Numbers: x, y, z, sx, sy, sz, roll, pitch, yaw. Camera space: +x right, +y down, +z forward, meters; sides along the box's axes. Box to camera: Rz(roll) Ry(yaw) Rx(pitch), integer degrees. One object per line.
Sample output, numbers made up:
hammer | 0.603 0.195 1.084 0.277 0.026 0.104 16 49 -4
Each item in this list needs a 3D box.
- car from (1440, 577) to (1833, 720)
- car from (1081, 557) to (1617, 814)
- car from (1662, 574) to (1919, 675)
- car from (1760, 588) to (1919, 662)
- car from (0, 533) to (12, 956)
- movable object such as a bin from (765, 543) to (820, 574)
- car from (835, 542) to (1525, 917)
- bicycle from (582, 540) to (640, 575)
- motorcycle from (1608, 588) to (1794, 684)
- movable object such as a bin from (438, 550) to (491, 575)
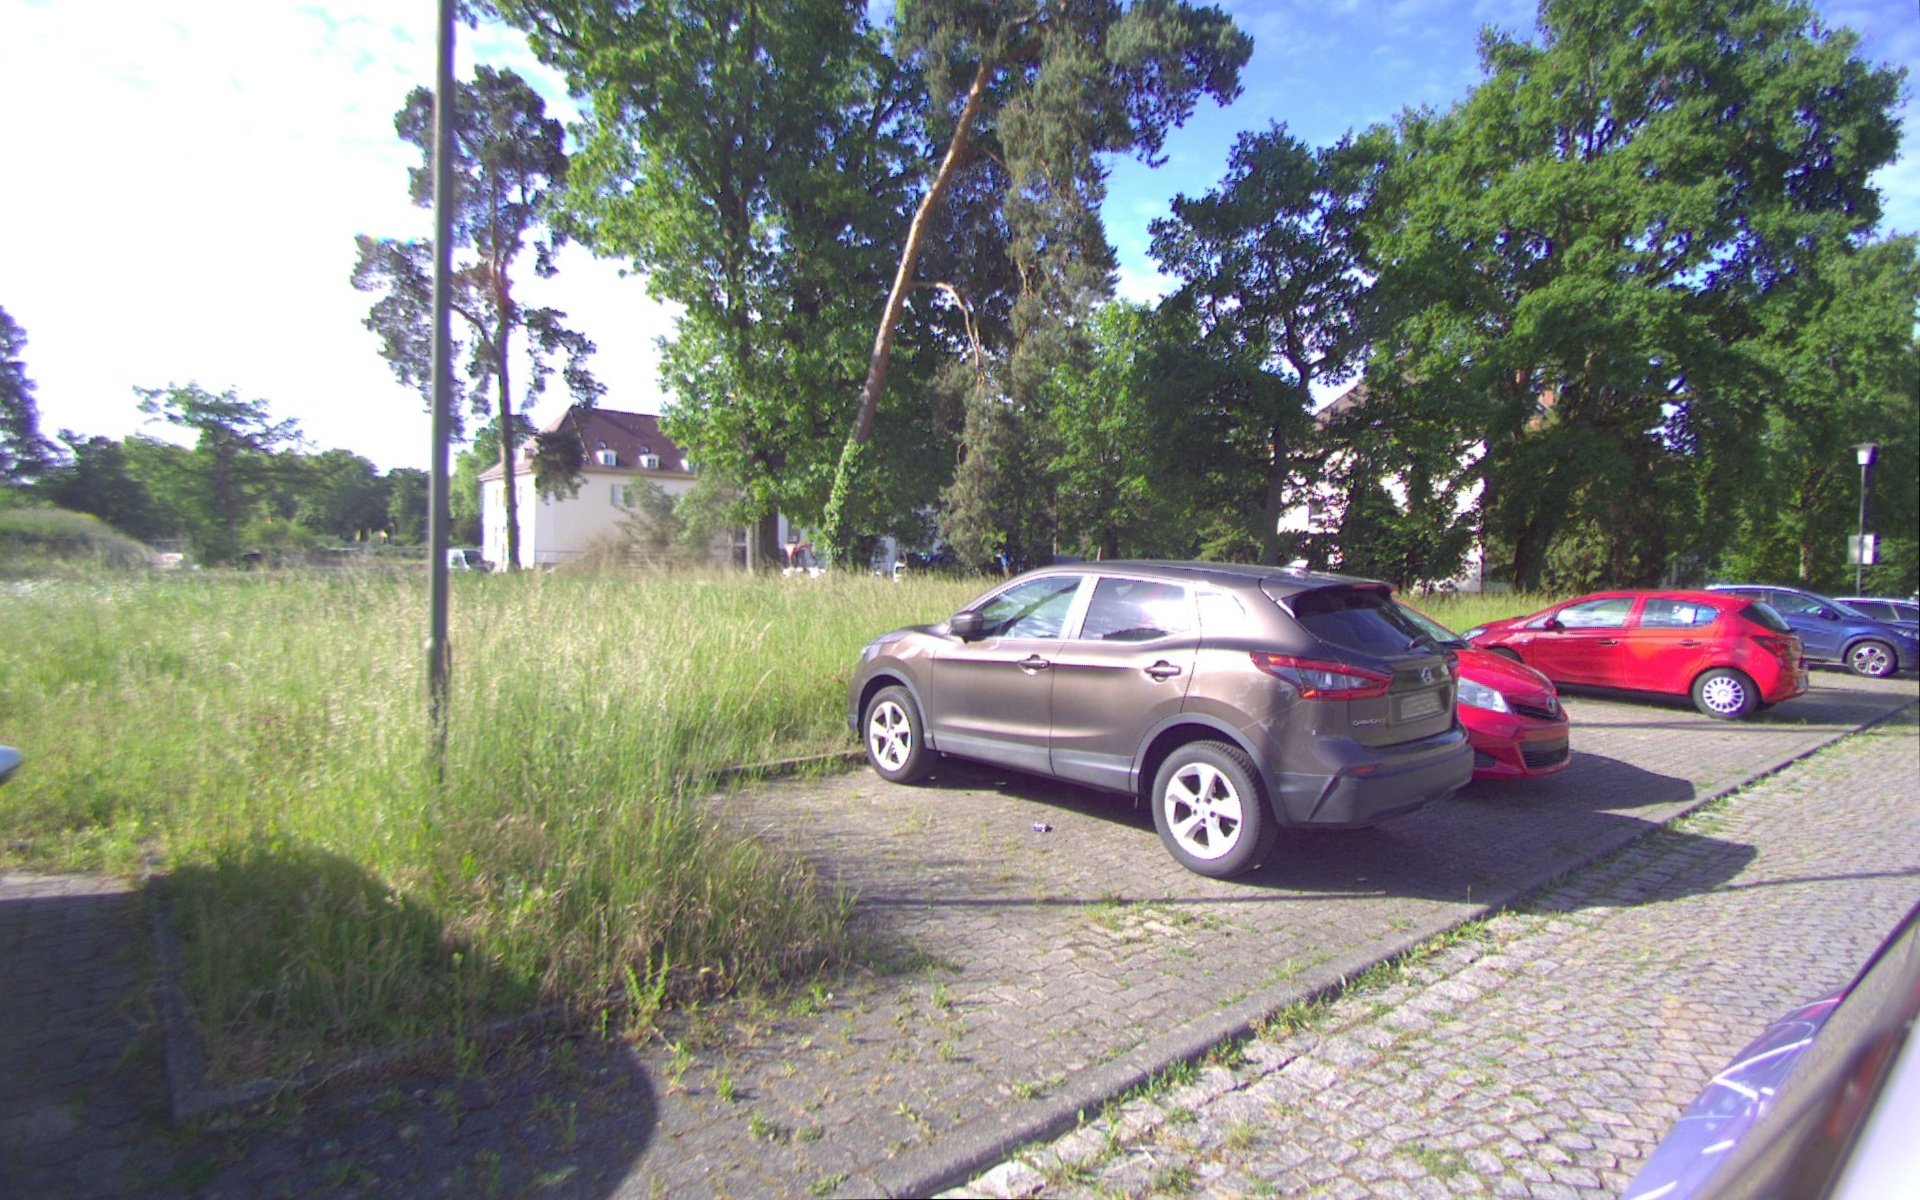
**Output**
car | 8.646 0.503 13.240 1.513 1.514 3.995 0 2 -40
car | 3.001 0.486 8.478 1.673 1.557 3.835 0 3 -39
car | 16.444 0.406 19.668 1.622 1.618 4.273 0 4 -40
car | 20.282 0.522 22.355 1.715 1.484 3.809 0 2 -39
car | -3.334 0.584 2.323 1.582 1.484 3.727 0 3 -42
movable object such as a bin | -17.048 -4.206 102.977 4.974 2.937 2.182 0 2 -33
car | 1.092 0.477 6.562 1.755 1.631 4.115 0 3 -41
bicycle | -20.675 -2.545 60.028 3.077 2.038 0.952 -2 3 -41
motorcycle | 11.907 0.531 16.341 0.863 1.370 2.236 0 2 -38
movable object such as a bin | -42.921 -3.235 87.572 5.714 2.038 2.092 3 2 41
